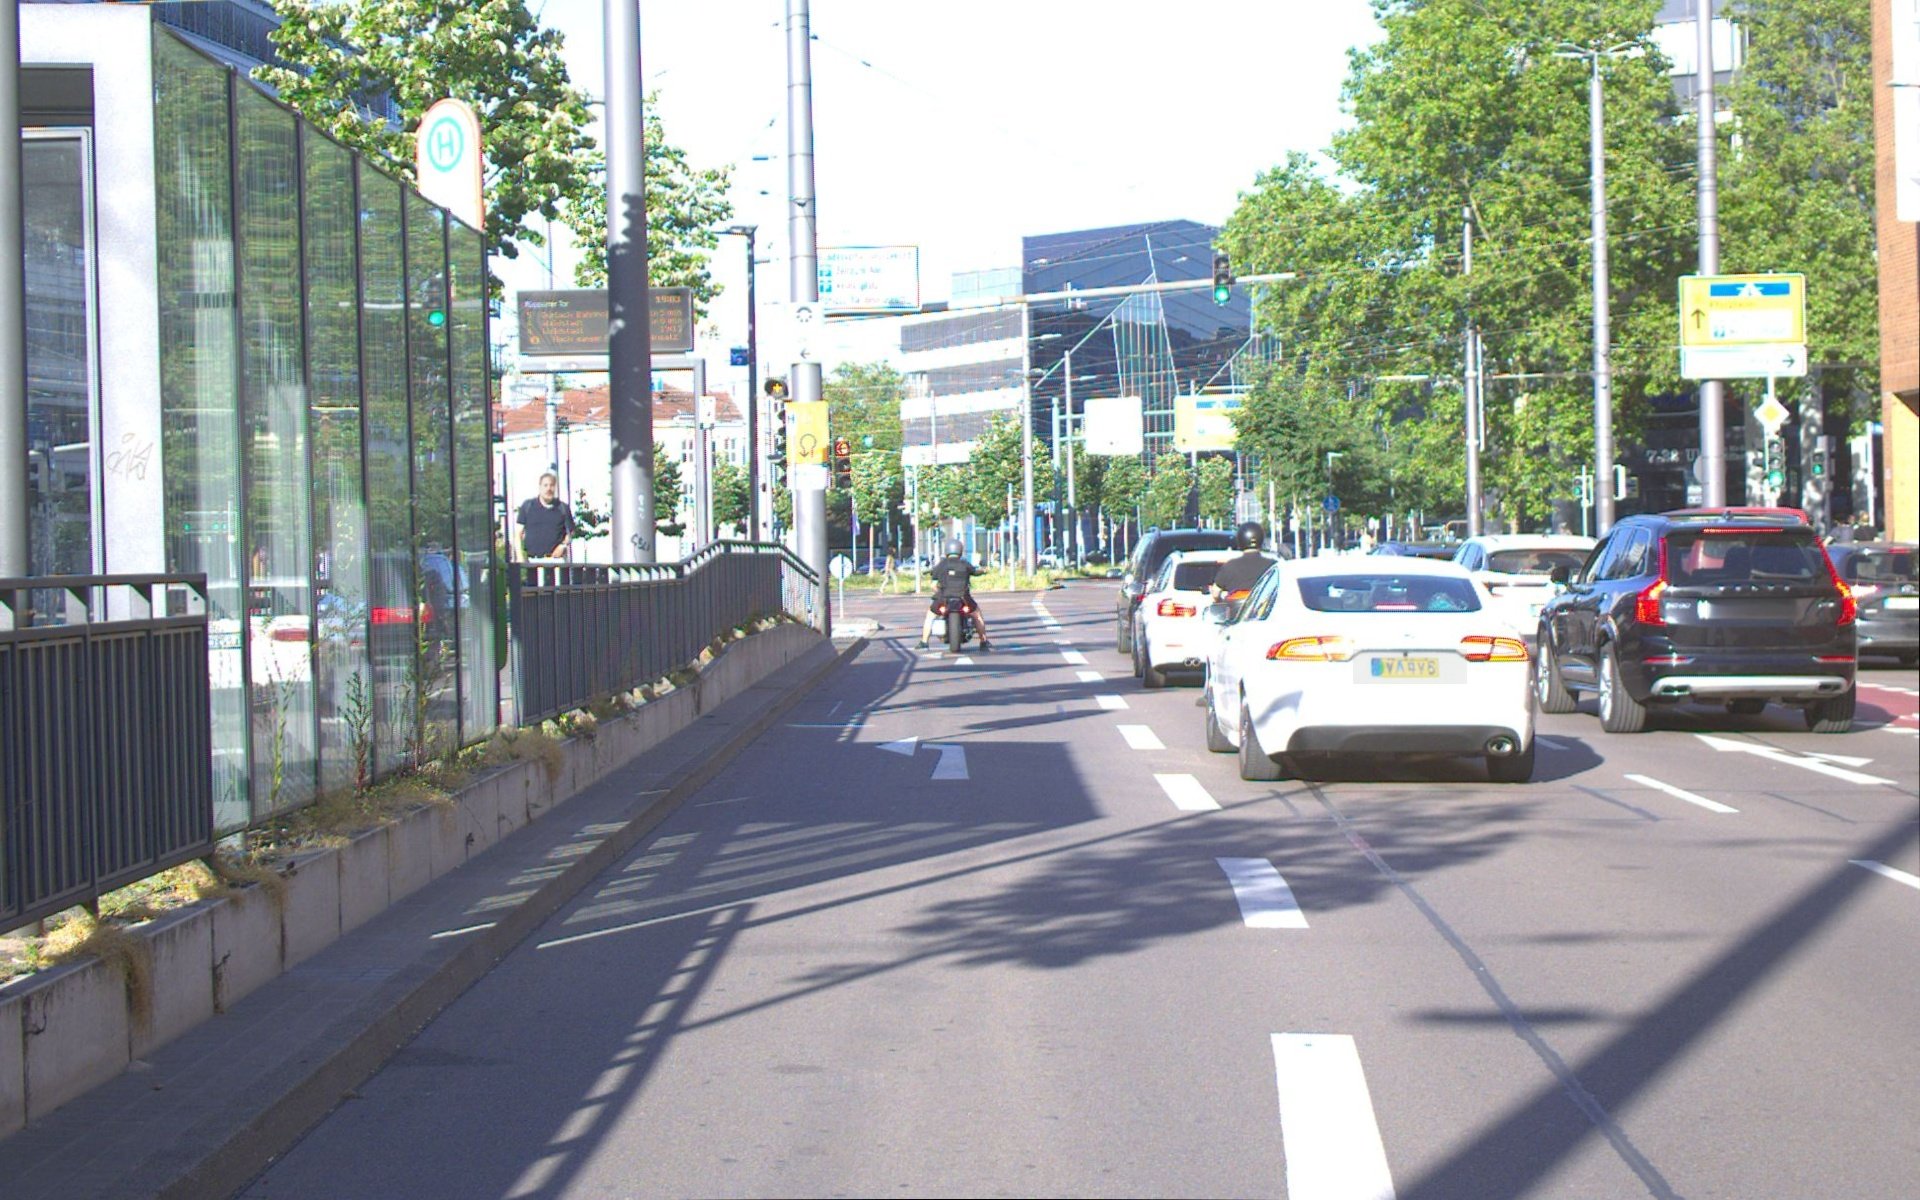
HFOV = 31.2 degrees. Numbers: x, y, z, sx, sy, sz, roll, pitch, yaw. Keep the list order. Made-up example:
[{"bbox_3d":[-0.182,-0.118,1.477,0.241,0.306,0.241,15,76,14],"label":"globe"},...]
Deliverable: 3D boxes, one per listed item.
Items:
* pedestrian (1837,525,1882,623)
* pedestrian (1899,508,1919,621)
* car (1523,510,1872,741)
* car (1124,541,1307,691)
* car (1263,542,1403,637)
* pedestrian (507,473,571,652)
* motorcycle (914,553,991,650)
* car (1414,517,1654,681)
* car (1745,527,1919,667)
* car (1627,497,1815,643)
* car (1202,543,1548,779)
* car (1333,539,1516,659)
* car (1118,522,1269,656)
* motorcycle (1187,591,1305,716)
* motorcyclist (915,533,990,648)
[{"bbox_3d":[16.846,-0.486,64.386,0.606,1.815,0.748,-1,0,0],"label":"pedestrian"},{"bbox_3d":[15.596,-0.579,55.578,0.606,1.815,0.748,-1,0,0],"label":"pedestrian"},{"bbox_3d":[6.059,0.162,28.806,1.975,1.753,4.632,1,1,1],"label":"car"},{"bbox_3d":[2.700,0.129,37.105,1.693,1.491,4.409,1,1,1],"label":"car"},{"bbox_3d":[6.089,-0.198,56.546,1.851,1.492,4.379,0,1,0],"label":"car"},{"bbox_3d":[-3.961,-0.354,32.349,0.519,1.663,0.550,0,1,1],"label":"pedestrian"},{"bbox_3d":[-0.095,0.000,48.773,1.019,1.307,2.914,1,1,1],"label":"motorcycle"},{"bbox_3d":[6.041,-0.044,36.655,1.851,1.634,4.379,0,1,0],"label":"car"},{"bbox_3d":[10.805,-0.061,41.040,1.846,1.555,4.632,1,1,1],"label":"car"},{"bbox_3d":[10.756,-0.437,48.843,1.860,1.954,4.000,-1,1,2],"label":"car"},{"bbox_3d":[2.693,0.334,23.330,1.780,1.409,4.819,1,1,0],"label":"car"},{"bbox_3d":[6.051,-0.057,45.215,1.851,1.492,4.379,0,1,0],"label":"car"},{"bbox_3d":[3.069,-0.165,45.881,1.798,1.699,4.063,0,1,1],"label":"car"},{"bbox_3d":[2.625,0.469,31.839,0.837,1.058,2.553,-1,1,-1],"label":"motorcycle"},{"bbox_3d":[-0.098,-0.145,48.841,1.019,1.598,1.148,1,1,1],"label":"motorcyclist"}]
